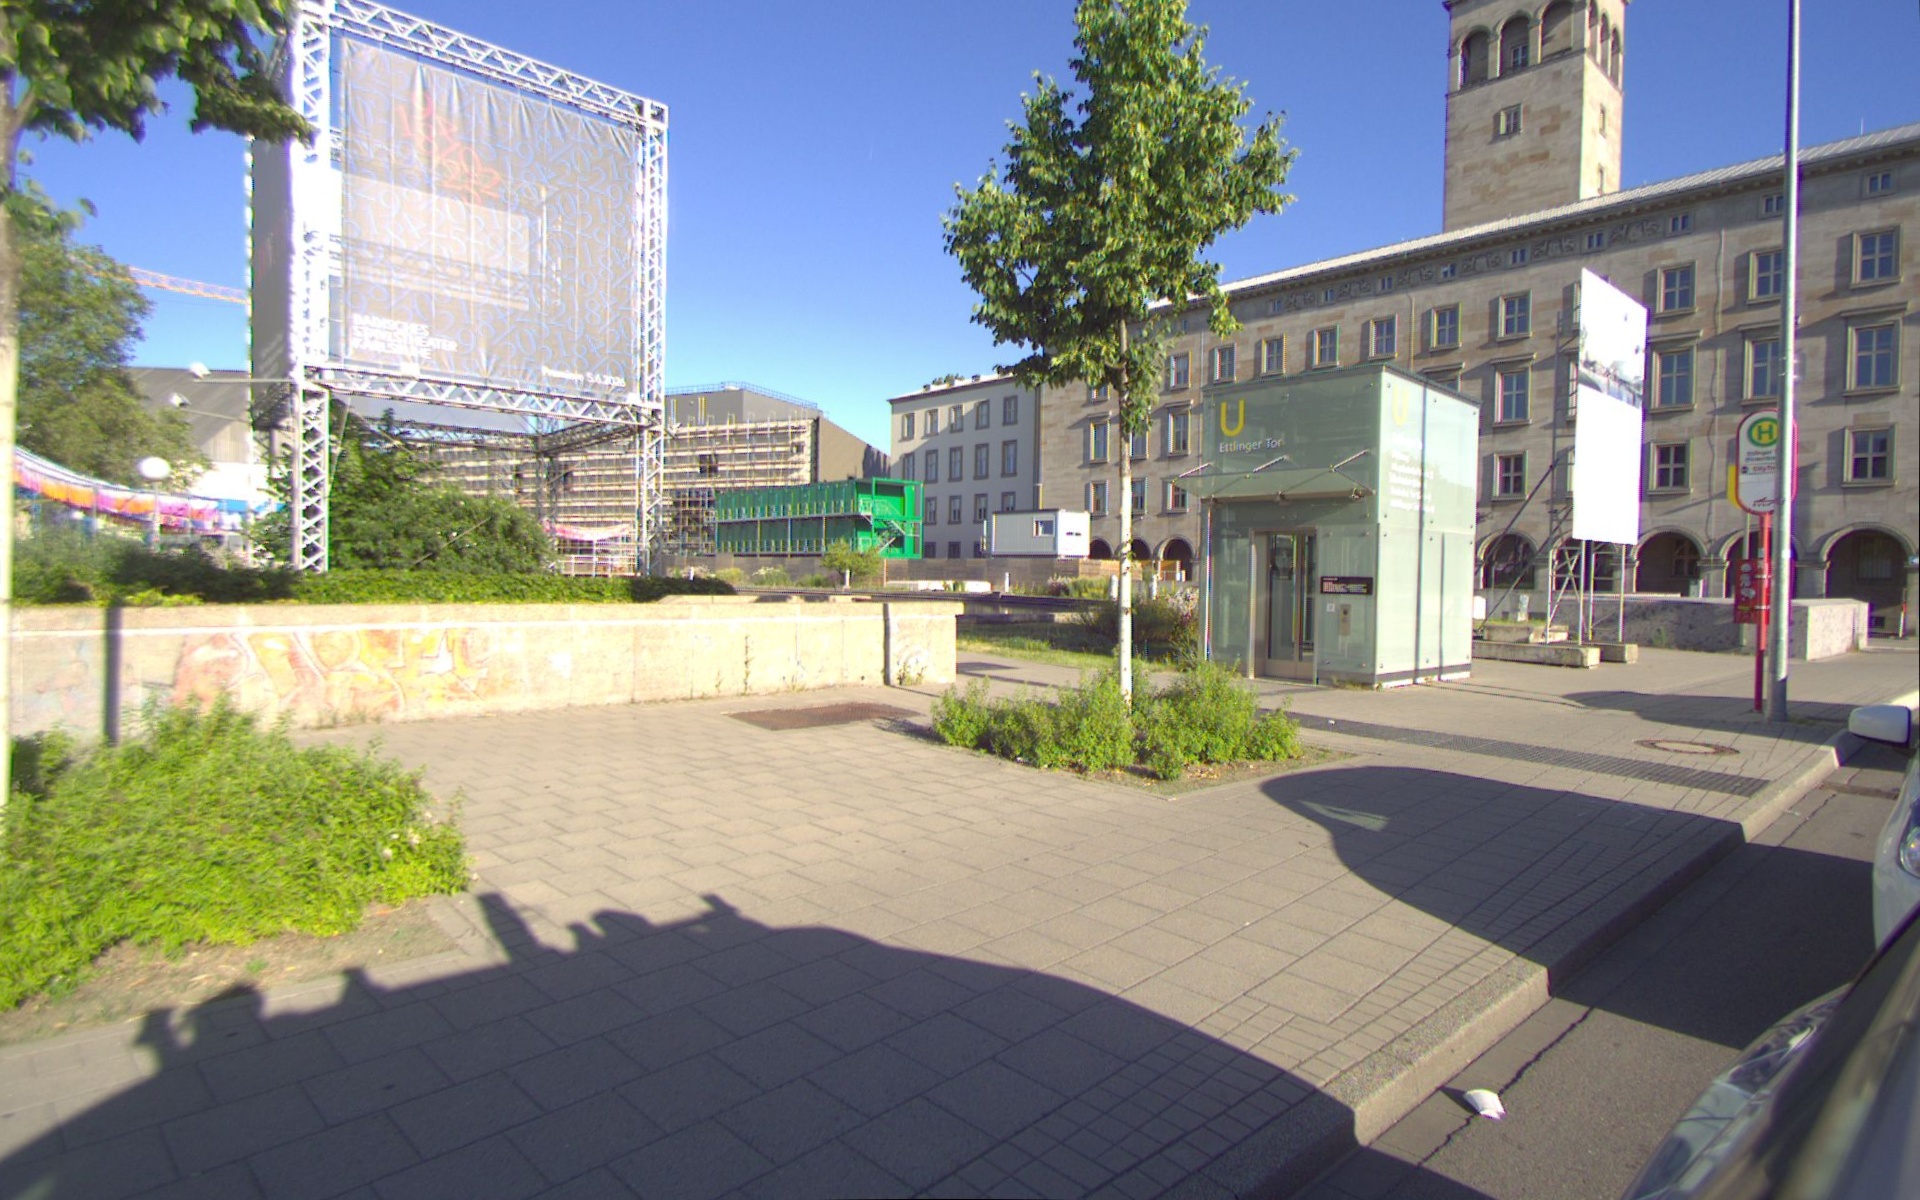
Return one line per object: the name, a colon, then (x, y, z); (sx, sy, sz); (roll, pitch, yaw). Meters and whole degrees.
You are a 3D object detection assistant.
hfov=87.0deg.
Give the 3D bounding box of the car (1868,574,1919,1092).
car: (4.645, 0.680, 3.667); (3.930, 1.473, 1.518); (0, 2, -41)
